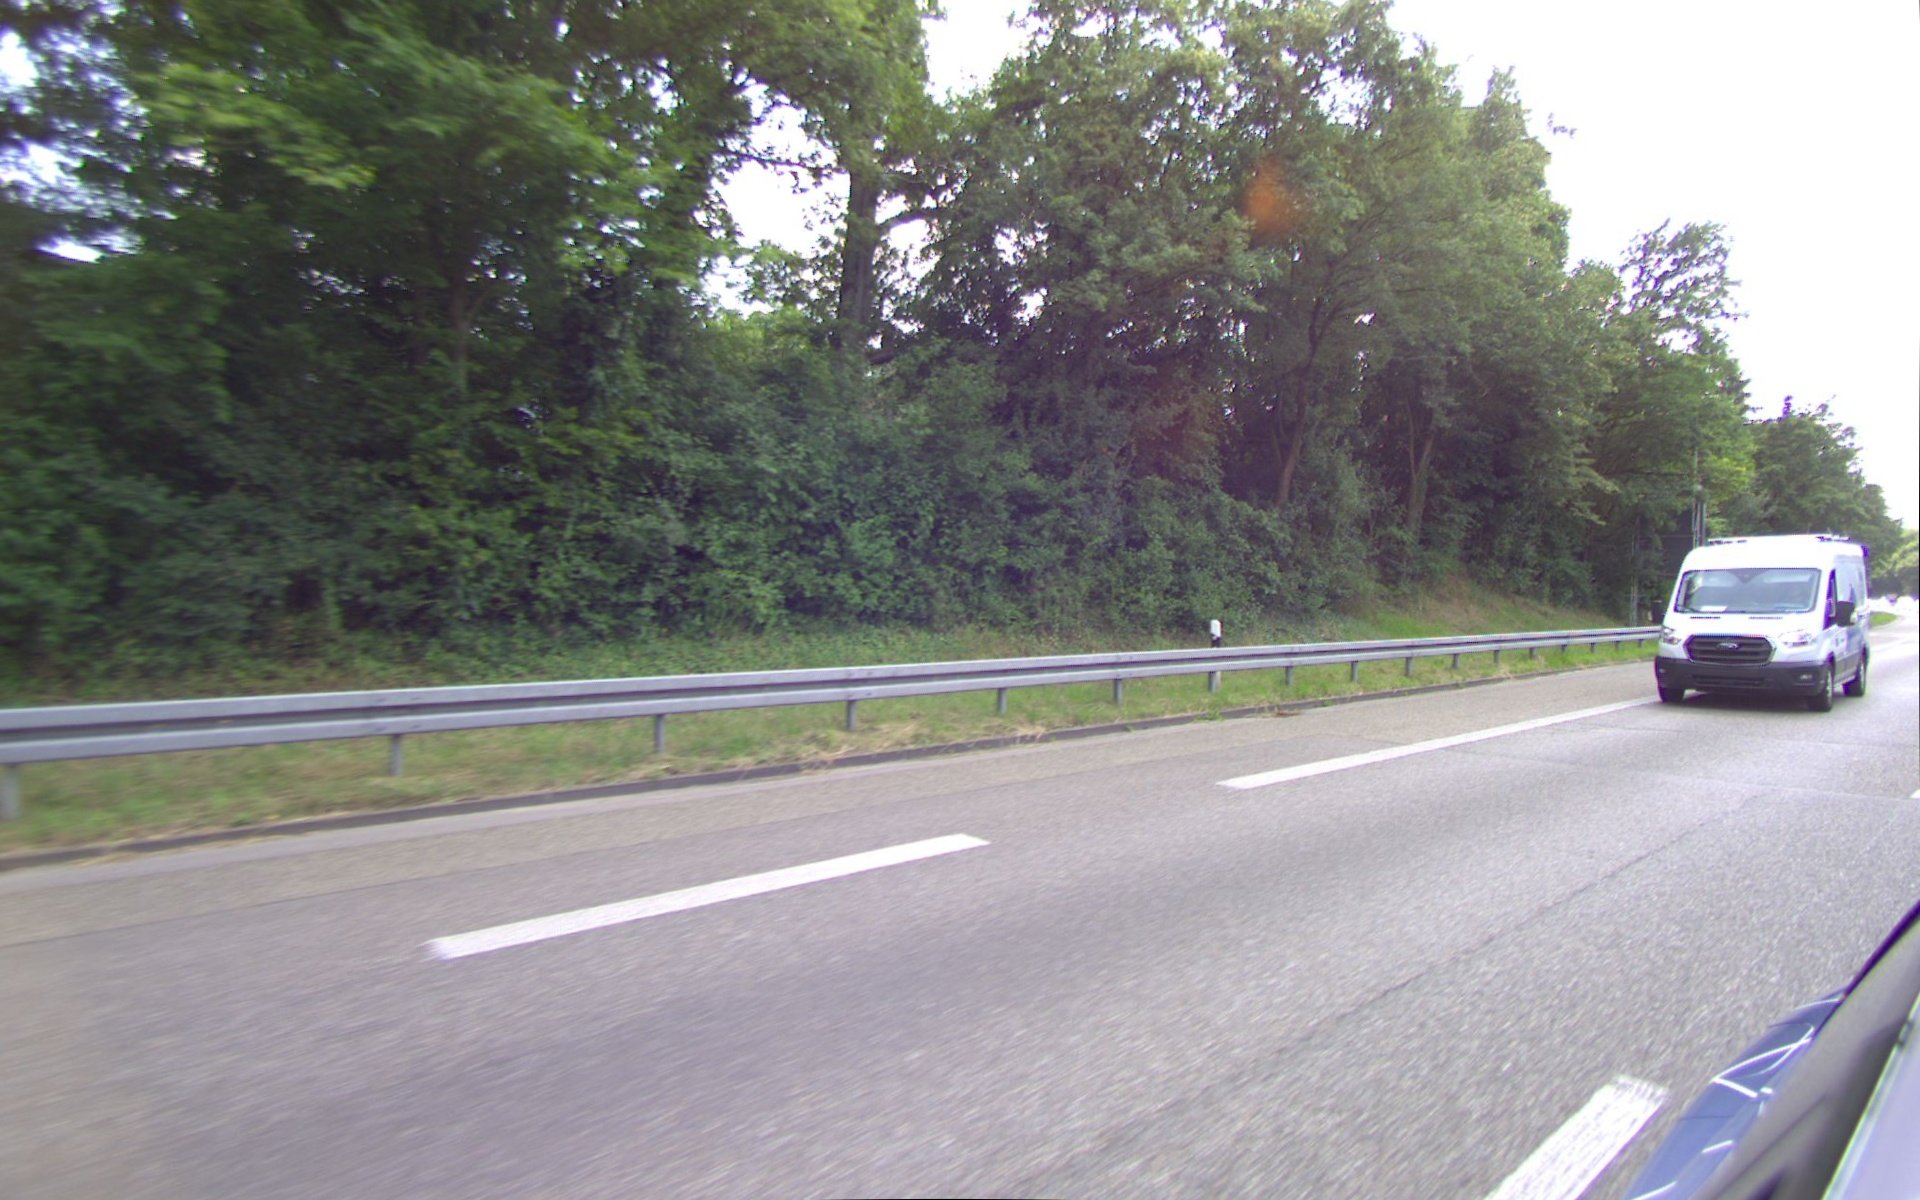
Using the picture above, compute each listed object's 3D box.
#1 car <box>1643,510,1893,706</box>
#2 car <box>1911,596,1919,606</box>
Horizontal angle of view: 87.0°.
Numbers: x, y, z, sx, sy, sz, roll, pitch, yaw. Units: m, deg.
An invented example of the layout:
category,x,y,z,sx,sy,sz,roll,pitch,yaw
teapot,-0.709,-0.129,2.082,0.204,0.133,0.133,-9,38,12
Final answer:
category,x,y,z,sx,sy,sz,roll,pitch,yaw
car,12.611,0.093,15.651,5.187,2.539,2.102,0,0,-41
car,154.520,0.199,163.020,3.935,1.540,1.782,0,1,-45
